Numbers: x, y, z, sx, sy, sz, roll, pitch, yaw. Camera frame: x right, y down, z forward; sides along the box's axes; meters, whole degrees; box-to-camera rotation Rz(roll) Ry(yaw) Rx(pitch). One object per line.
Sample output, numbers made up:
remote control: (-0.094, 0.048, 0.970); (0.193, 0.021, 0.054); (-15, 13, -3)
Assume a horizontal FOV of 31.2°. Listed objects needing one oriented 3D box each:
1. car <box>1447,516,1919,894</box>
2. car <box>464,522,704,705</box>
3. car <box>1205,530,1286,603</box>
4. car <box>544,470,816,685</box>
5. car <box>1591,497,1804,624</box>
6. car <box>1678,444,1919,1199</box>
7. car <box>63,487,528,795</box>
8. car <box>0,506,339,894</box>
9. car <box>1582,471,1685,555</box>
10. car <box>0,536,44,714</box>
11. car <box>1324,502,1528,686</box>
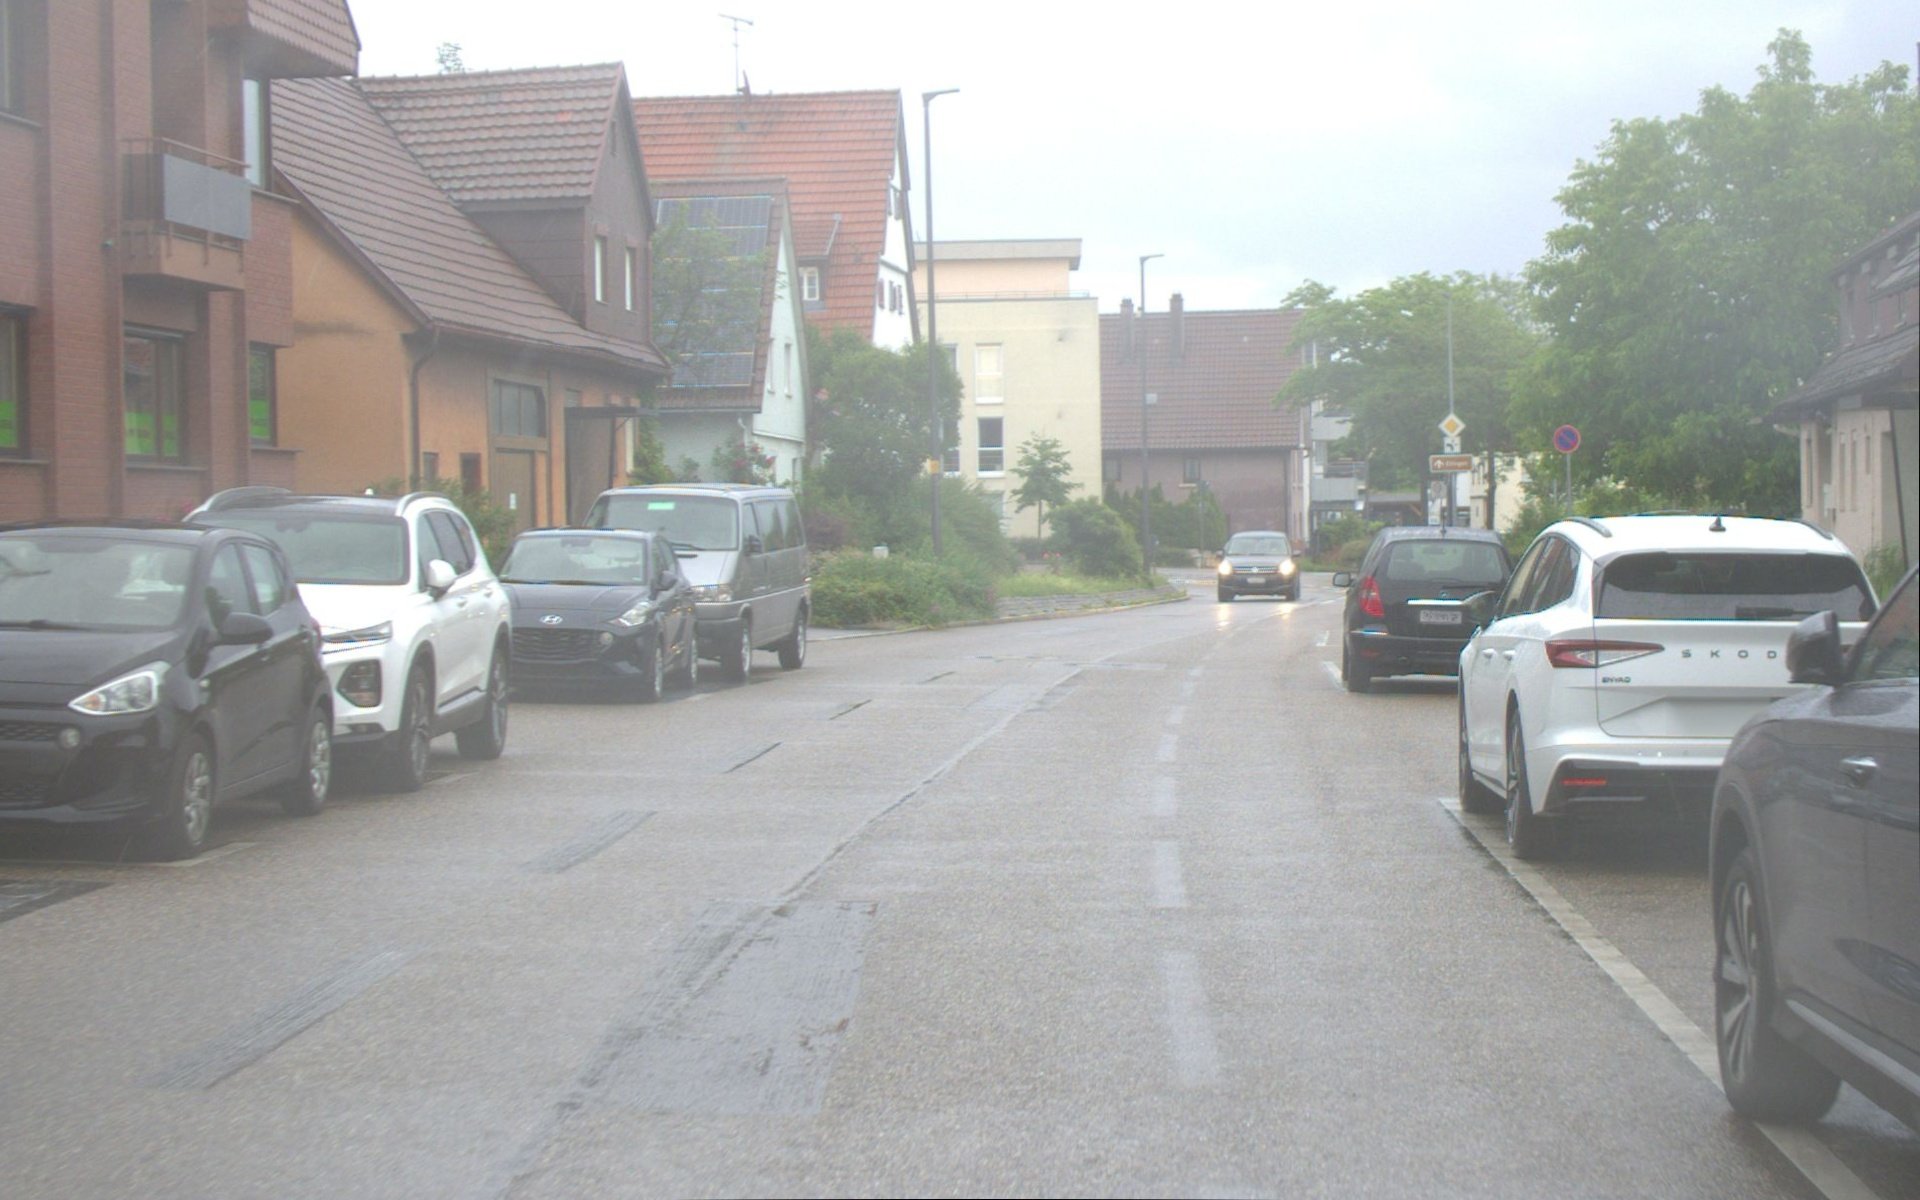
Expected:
car: (3.494, 0.414, 17.172); (1.803, 1.589, 4.611); (1, 1, 5)
car: (-3.254, 0.082, 30.299); (1.578, 1.492, 3.567); (-1, 1, 2)
car: (6.748, -0.810, 80.931); (1.798, 1.634, 3.999); (1, 1, 5)
car: (-2.765, -0.260, 35.135); (1.822, 2.007, 5.213); (-1, 1, 6)
car: (9.997, -0.561, 46.401); (1.761, 1.389, 3.995); (-7, 0, 26)
car: (2.861, 0.562, 7.371); (1.909, 1.711, 4.555); (1, 1, 3)
car: (-3.835, 0.181, 20.651); (1.764, 1.613, 4.656); (-1, 1, 1)
car: (-4.102, 0.398, 16.028); (1.605, 1.612, 3.276); (-1, 1, 4)
car: (11.877, -1.524, 60.781); (1.638, 1.425, 3.676); (-1, 1, 9)
car: (-9.600, 0.238, 27.160); (4.174, 1.398, 1.788); (-1, 1, 10)
car: (4.567, -0.088, 34.162); (1.750, 1.704, 4.000); (-1, 1, 4)
